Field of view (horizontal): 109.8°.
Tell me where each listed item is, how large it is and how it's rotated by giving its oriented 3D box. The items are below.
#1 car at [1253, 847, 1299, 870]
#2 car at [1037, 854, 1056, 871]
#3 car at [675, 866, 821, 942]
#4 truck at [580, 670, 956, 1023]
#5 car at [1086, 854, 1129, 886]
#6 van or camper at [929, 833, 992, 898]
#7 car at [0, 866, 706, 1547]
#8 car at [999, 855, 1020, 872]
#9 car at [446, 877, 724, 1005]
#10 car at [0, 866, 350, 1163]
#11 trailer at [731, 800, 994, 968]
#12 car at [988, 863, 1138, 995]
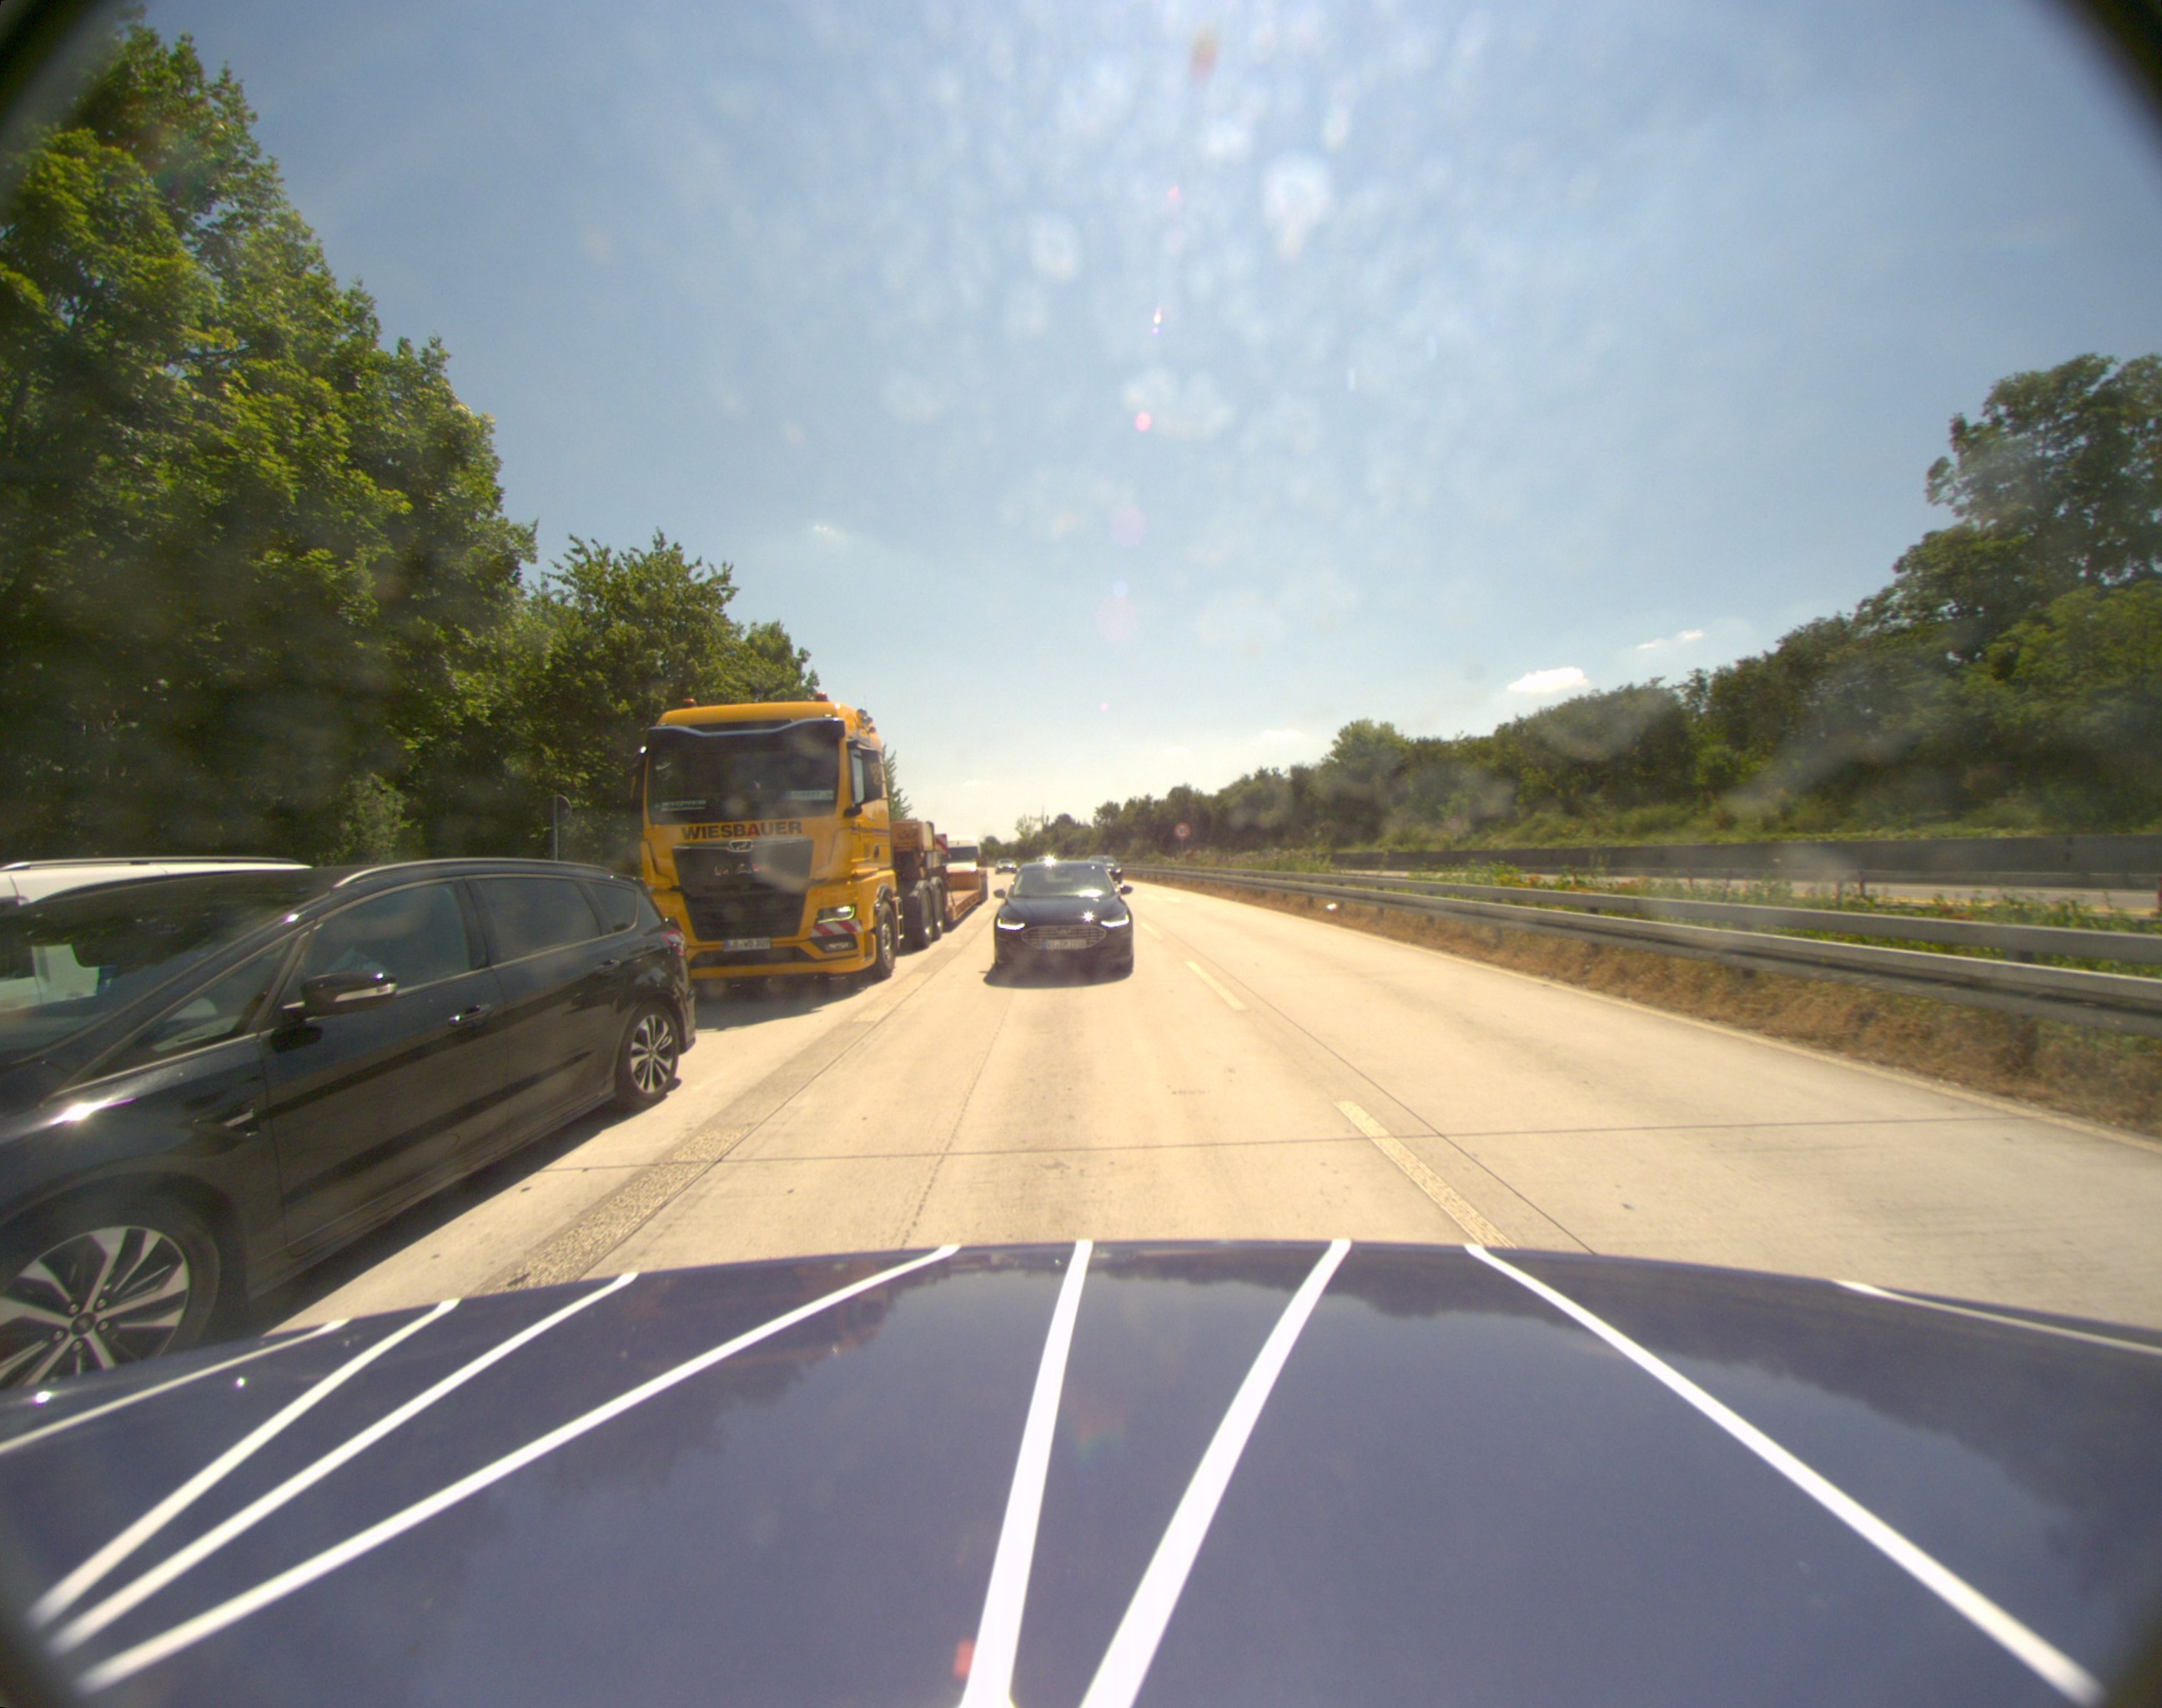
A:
[{"bbox_3d":[13.826,0.281,54.167,1.717,1.476,4.290,-2,1,-7],"label":"car"},{"bbox_3d":[-3.280,0.824,71.960,1.706,1.456,3.998,-2,1,-4],"label":"car"},{"bbox_3d":[-7.975,1.121,18.722,1.772,1.454,4.596,-2,1,-4],"label":"car"},{"bbox_3d":[-4.020,-0.125,12.061,3.022,3.751,7.467,-2,1,-3],"label":"truck"},{"bbox_3d":[1.313,0.795,39.333,1.628,1.476,3.997,-2,1,-7],"label":"car"},{"bbox_3d":[-5.263,0.429,34.053,2.069,2.559,5.905,-2,1,-3],"label":"van or camper"},{"bbox_3d":[-3.694,0.971,3.293,1.788,1.630,4.646,-2,1,0],"label":"car"},{"bbox_3d":[-6.749,0.917,72.085,1.891,1.456,3.998,-2,1,-4],"label":"car"},{"bbox_3d":[-7.669,1.229,12.375,1.772,1.454,4.362,-2,1,-3],"label":"car"},{"bbox_3d":[-7.720,1.076,4.794,1.773,1.797,4.790,-2,1,-5],"label":"car"},{"bbox_3d":[-4.416,0.461,20.367,3.035,2.578,16.351,-2,0,-3],"label":"trailer"},{"bbox_3d":[-0.274,0.916,11.194,1.731,1.430,4.303,-2,0,-2],"label":"car"}]
